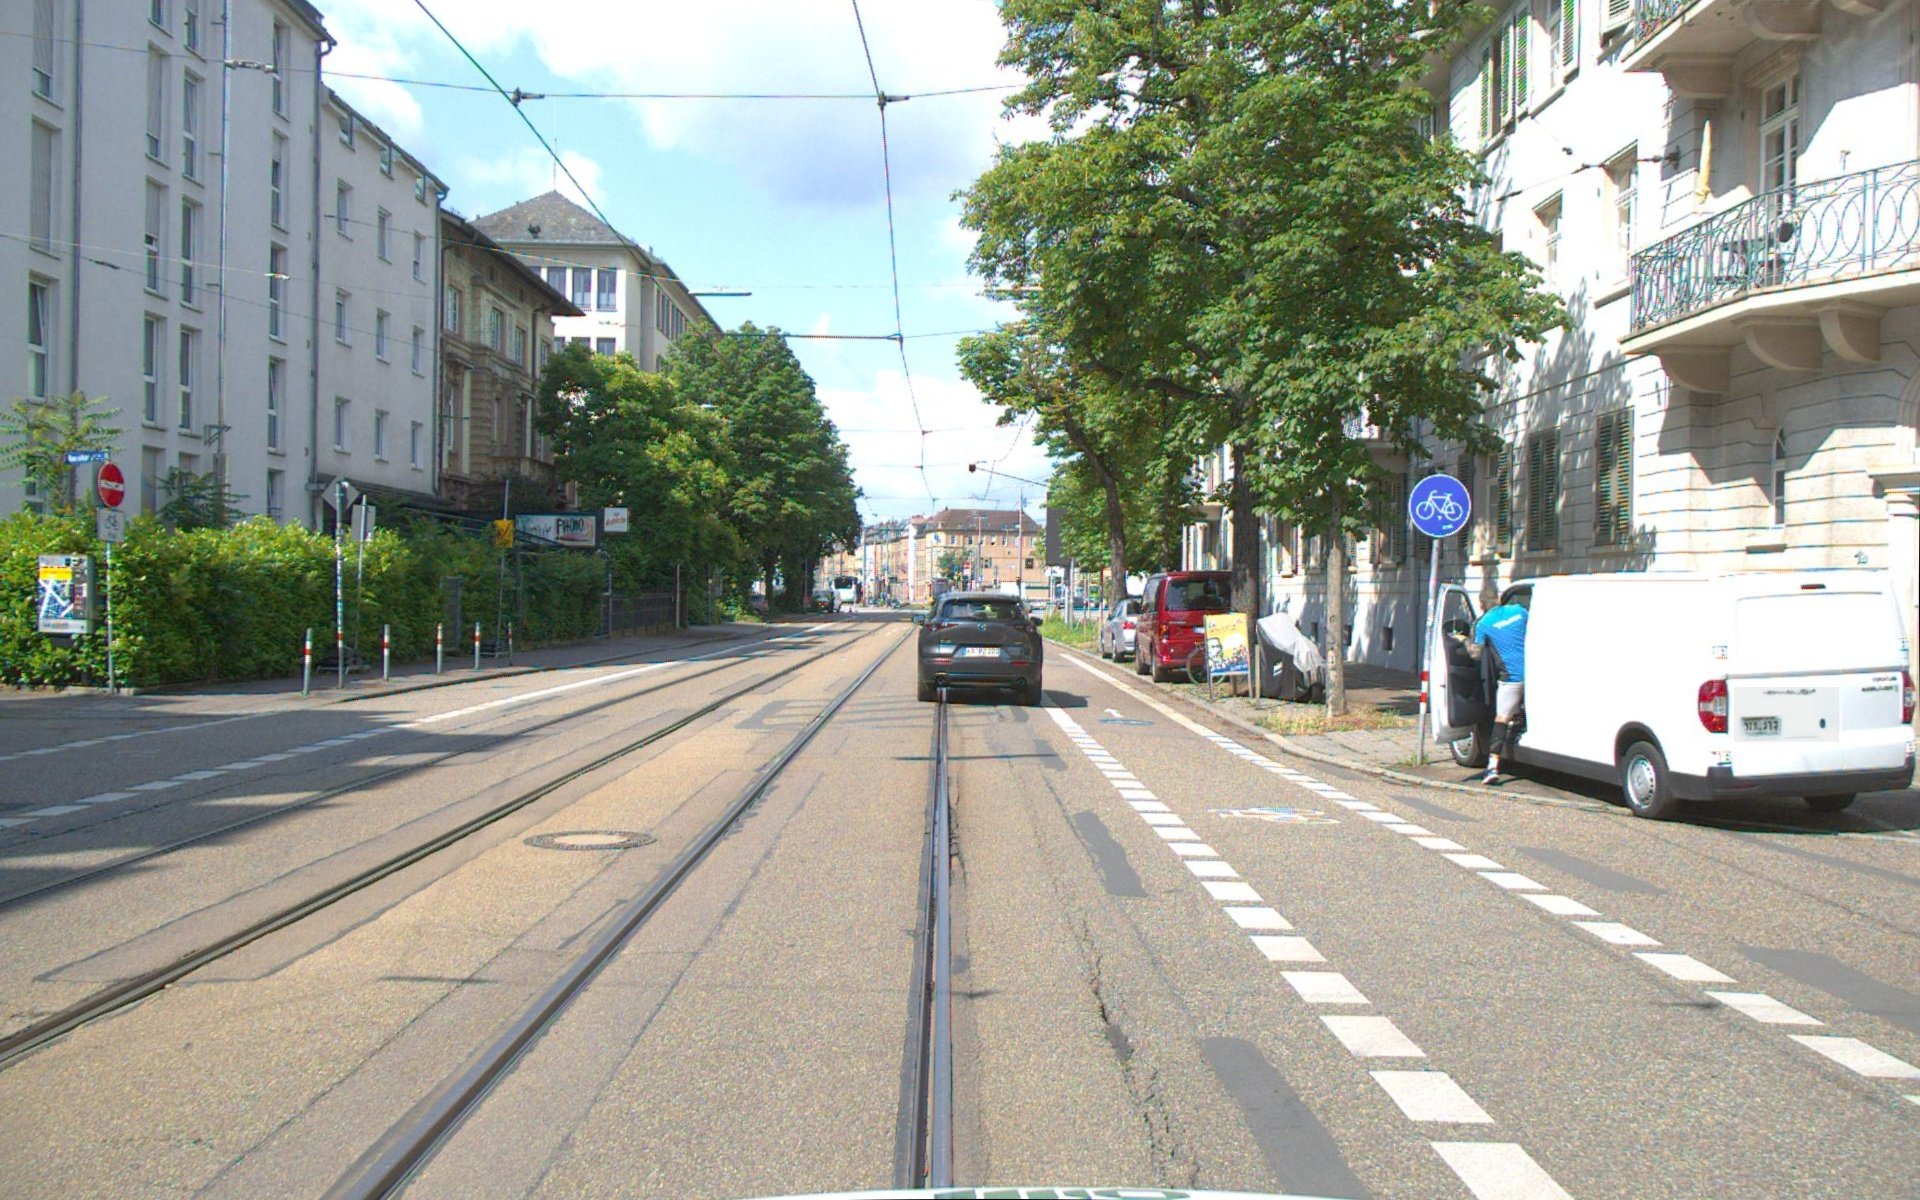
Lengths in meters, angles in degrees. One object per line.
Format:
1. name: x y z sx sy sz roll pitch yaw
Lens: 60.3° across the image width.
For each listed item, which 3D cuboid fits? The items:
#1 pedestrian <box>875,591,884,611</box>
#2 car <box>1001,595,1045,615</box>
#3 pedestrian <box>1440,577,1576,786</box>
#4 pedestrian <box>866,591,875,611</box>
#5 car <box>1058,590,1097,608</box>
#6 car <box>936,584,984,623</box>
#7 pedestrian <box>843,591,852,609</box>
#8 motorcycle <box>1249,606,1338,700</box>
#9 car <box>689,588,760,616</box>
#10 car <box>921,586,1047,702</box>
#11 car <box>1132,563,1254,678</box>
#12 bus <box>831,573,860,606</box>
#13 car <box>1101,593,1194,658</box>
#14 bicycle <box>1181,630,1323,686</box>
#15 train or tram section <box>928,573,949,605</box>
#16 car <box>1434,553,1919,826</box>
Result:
1. pedestrian: -8.205 0.064 169.074 0.867 2.049 0.617 1 0 -5
2. car: 5.988 0.460 156.410 3.748 1.646 1.629 3 0 -19
3. pedestrian: 5.046 0.728 15.288 0.800 1.868 0.960 1 0 -10
4. pedestrian: -9.153 0.083 169.104 0.867 2.049 0.617 1 0 -5
5. car: 12.376 -0.136 174.209 3.769 1.646 1.620 3 0 -32
6. car: -0.014 0.149 72.145 1.953 1.555 3.999 3 0 -1
7. pedestrian: -9.864 0.001 144.703 0.736 1.537 0.823 1 0 -5
8. motorcycle: 4.910 0.756 24.496 0.778 1.293 2.422 1 0 -1
9. car: -12.827 0.108 90.144 3.673 1.309 1.609 3 0 -5
10. car: 0.290 0.591 24.202 1.686 1.553 3.589 1 0 -1
11. car: 4.315 0.347 31.179 1.685 2.003 4.207 1 0 0
12. bus: -13.220 -1.227 190.693 2.637 3.480 11.002 3 0 -7
13. car: 4.362 0.564 38.909 1.686 1.449 3.589 1 0 -1
14. bicycle: 4.848 0.964 27.533 2.229 0.876 0.671 1 0 -2
15. train or tram section: -2.781 -1.422 211.525 2.519 3.838 13.024 1 0 -1
16. car: 6.013 0.630 14.526 1.753 1.972 4.984 1 0 -7
